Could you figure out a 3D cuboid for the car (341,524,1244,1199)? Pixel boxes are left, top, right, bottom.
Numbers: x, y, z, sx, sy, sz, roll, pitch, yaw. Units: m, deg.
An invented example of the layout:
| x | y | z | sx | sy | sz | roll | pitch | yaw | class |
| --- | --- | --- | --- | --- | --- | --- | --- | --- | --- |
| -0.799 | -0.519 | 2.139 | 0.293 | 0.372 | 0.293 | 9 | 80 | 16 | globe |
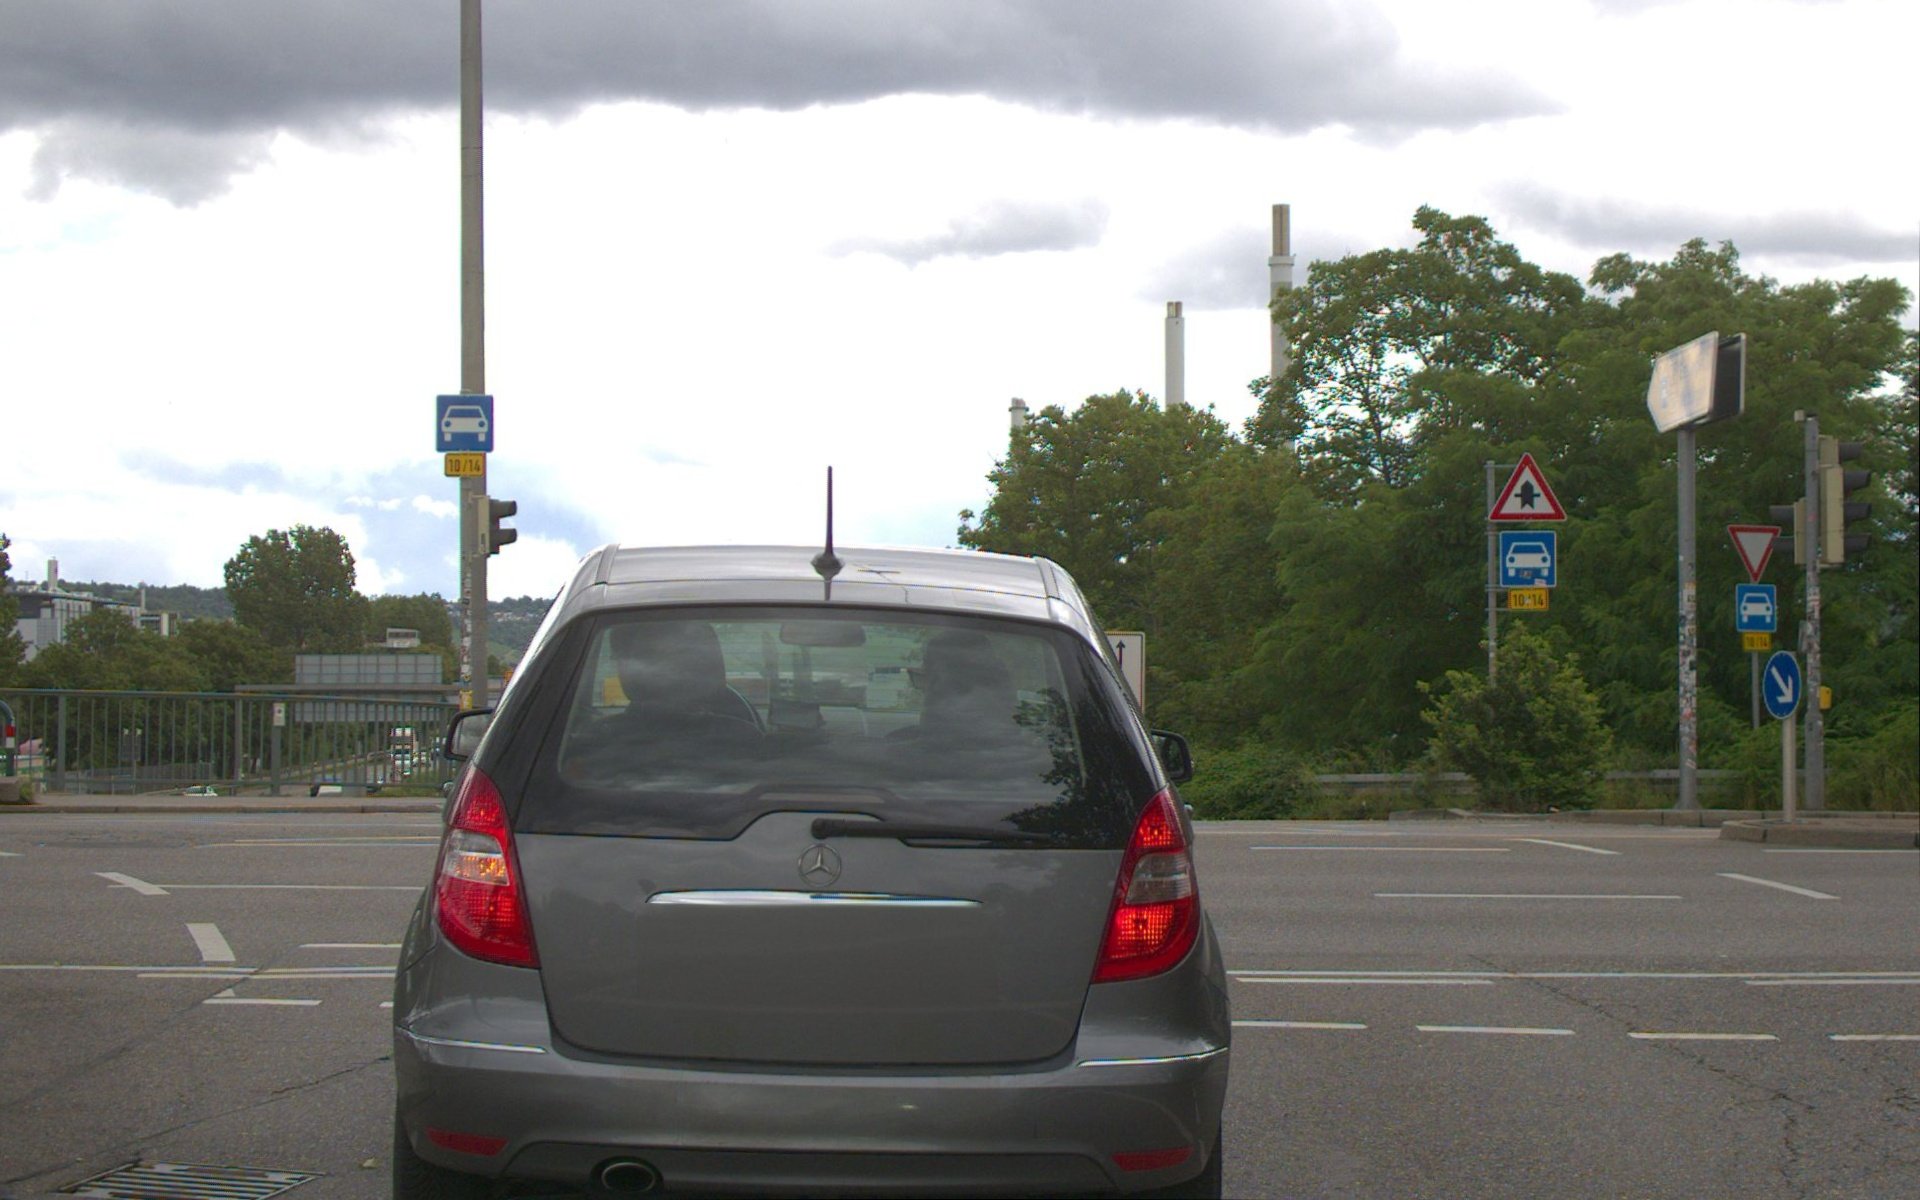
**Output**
| x | y | z | sx | sy | sz | roll | pitch | yaw | class |
| --- | --- | --- | --- | --- | --- | --- | --- | --- | --- |
| -0.365 | 0.634 | 8.619 | 1.745 | 1.545 | 3.871 | 0 | 0 | -1 | car |
